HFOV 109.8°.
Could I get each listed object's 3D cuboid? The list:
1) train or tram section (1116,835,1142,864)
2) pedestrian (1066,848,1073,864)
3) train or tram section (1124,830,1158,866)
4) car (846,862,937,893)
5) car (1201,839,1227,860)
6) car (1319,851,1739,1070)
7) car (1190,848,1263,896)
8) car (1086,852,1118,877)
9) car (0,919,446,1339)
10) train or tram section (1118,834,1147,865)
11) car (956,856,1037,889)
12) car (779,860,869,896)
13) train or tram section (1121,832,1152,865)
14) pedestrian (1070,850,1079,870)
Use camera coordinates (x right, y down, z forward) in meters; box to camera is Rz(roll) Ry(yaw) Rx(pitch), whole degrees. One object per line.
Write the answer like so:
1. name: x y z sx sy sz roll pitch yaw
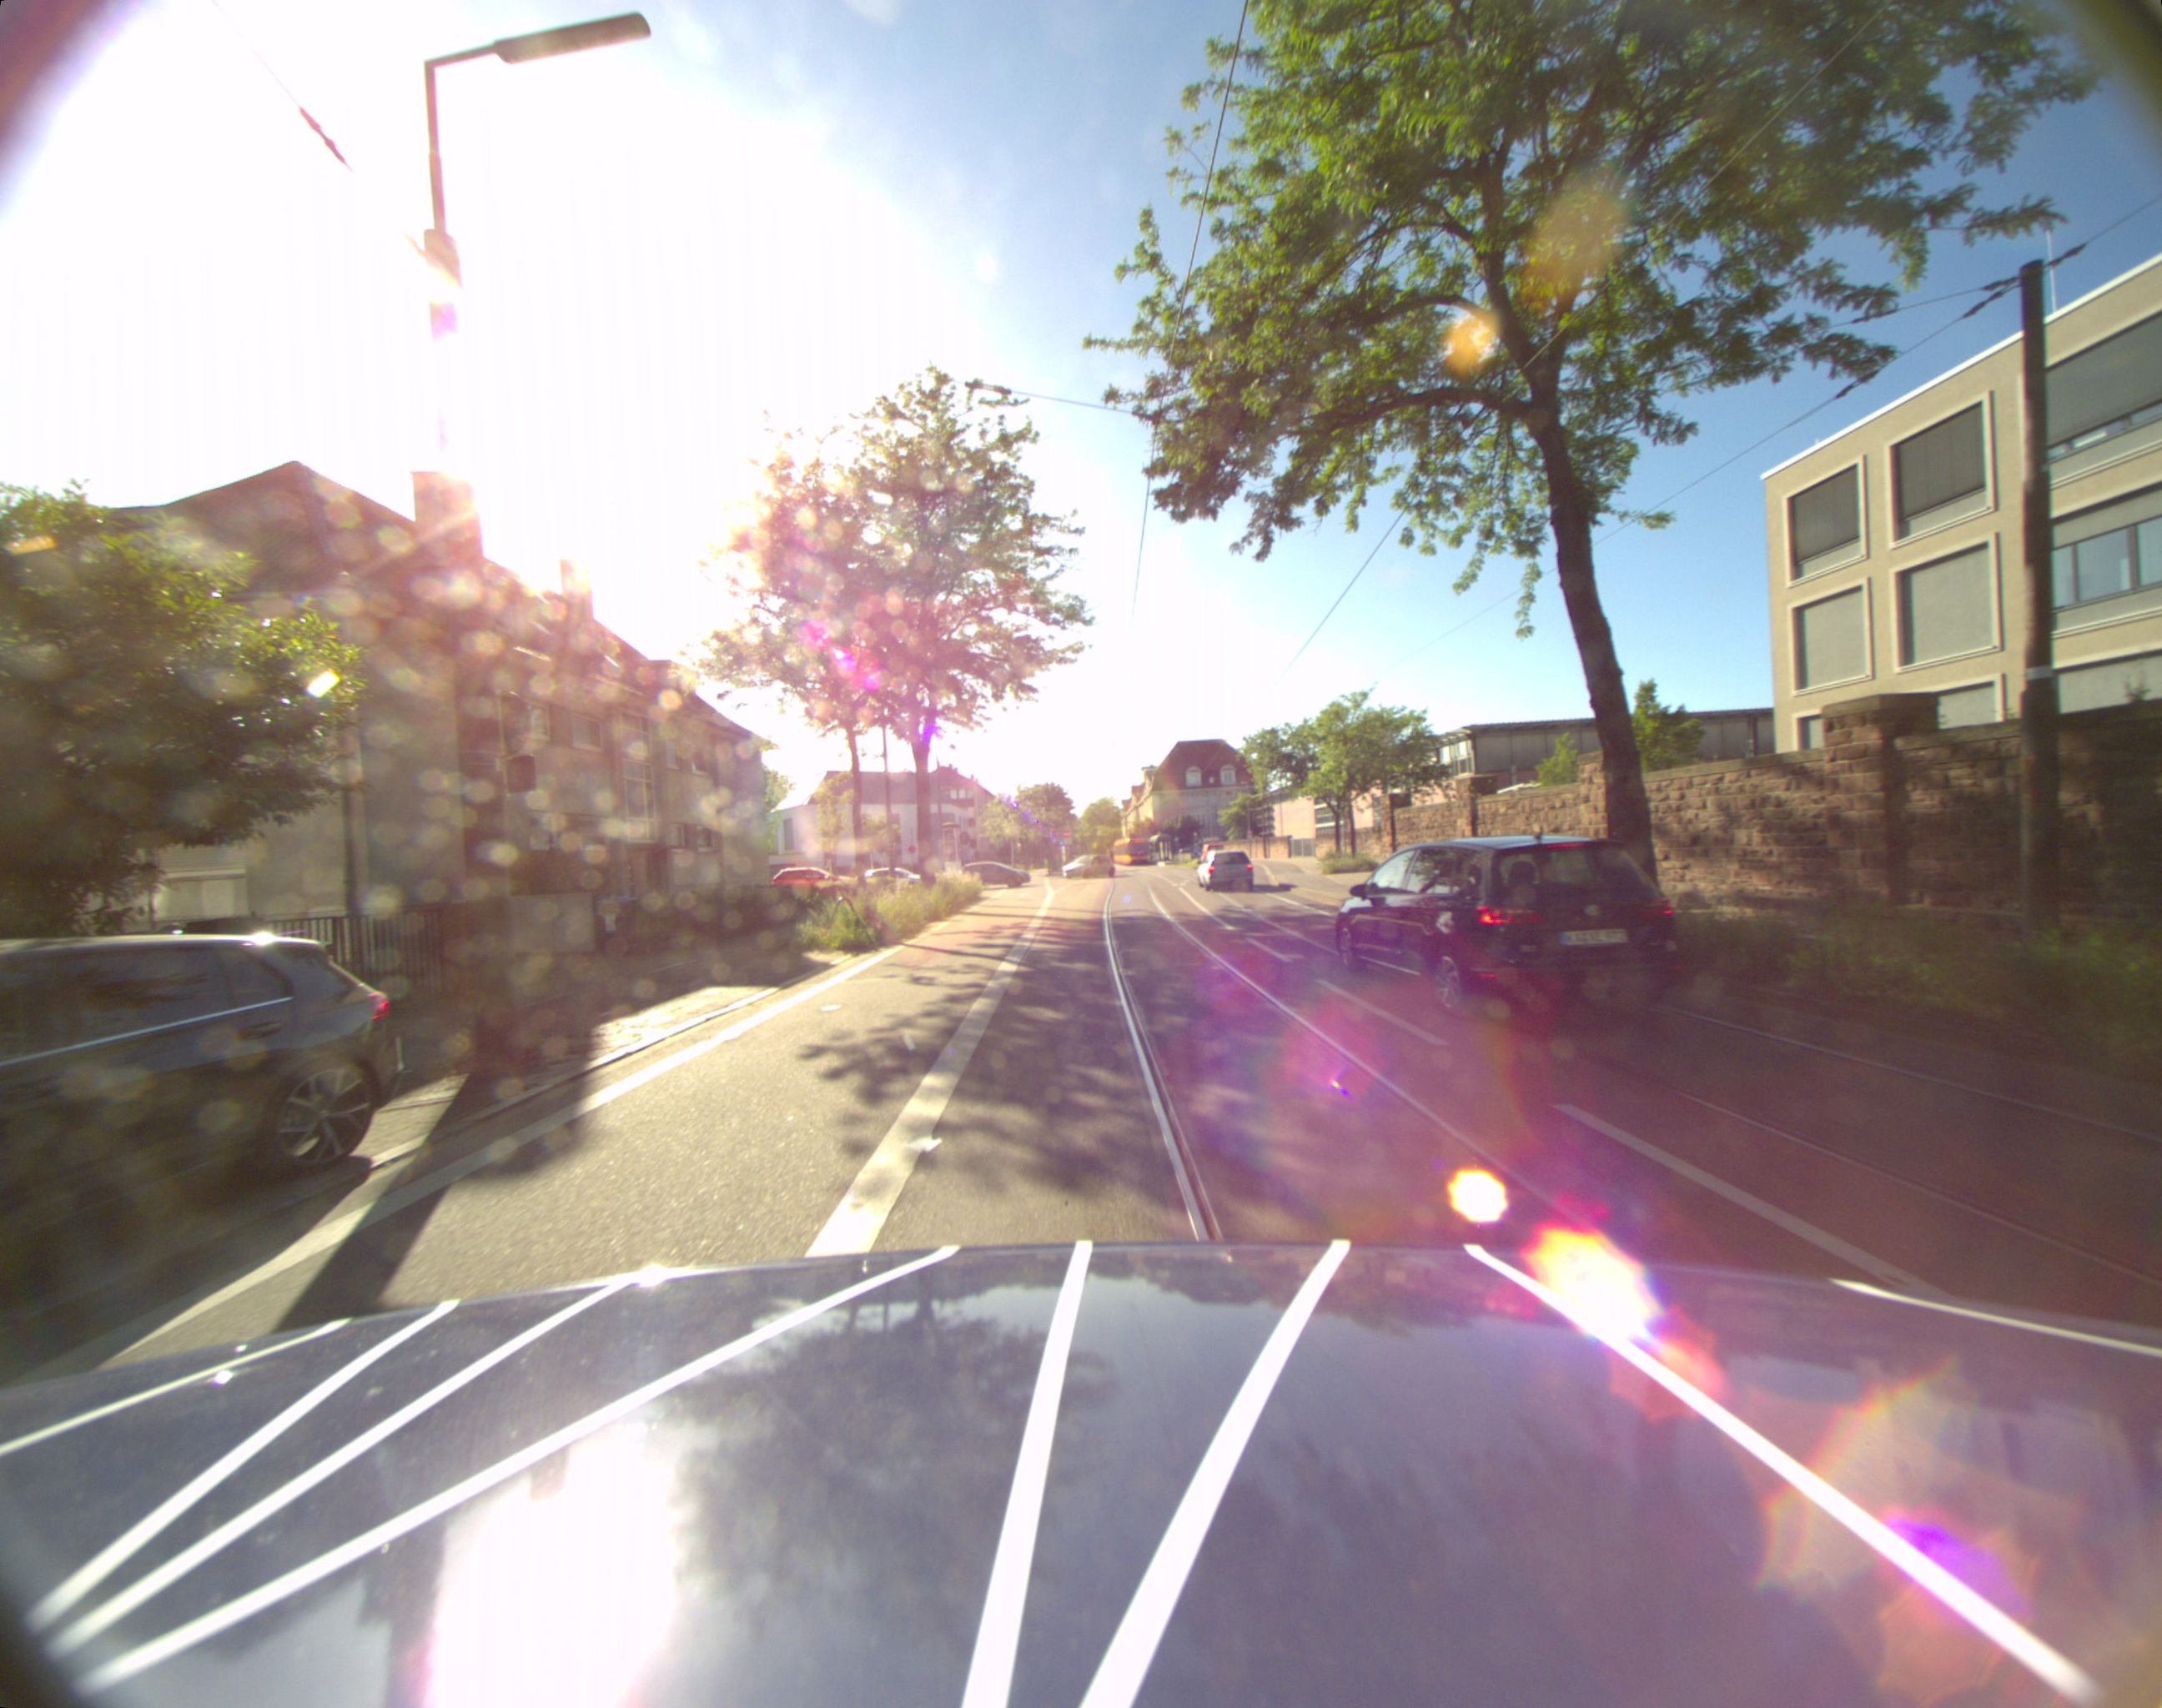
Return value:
1. train or tram section: 6.205 -0.548 99.121 2.811 3.439 6.668 -4 0 0
2. pedestrian: -1.267 0.220 83.329 0.673 1.694 0.690 -5 1 -1
3. train or tram section: 6.196 -0.575 79.132 2.811 3.439 6.668 -4 0 0
4. car: -10.916 1.336 43.939 4.611 1.458 1.983 -3 2 12
5. car: 13.363 -0.464 76.431 1.998 1.954 4.935 -3 0 5
6. car: 3.951 0.779 7.639 1.753 1.515 4.035 -4 0 0
7. car: 5.279 0.583 28.128 1.998 1.515 4.580 -4 0 3
8. car: 1.397 0.637 49.104 1.741 1.450 3.695 -3 0 5
9. car: -5.215 1.229 2.928 1.753 1.486 4.443 -2 0 0
10. train or tram section: 6.205 -0.542 92.445 2.811 3.439 6.668 -4 0 0
11. car: -4.677 1.007 42.321 3.994 1.499 1.983 -4 0 10
12. car: -14.051 1.299 41.669 4.174 1.632 1.981 -4 0 -2
13. train or tram section: 6.204 -0.569 85.815 2.811 3.439 6.668 -4 0 0
14. pedestrian: -0.619 0.553 71.586 0.712 1.843 0.729 -5 1 2
